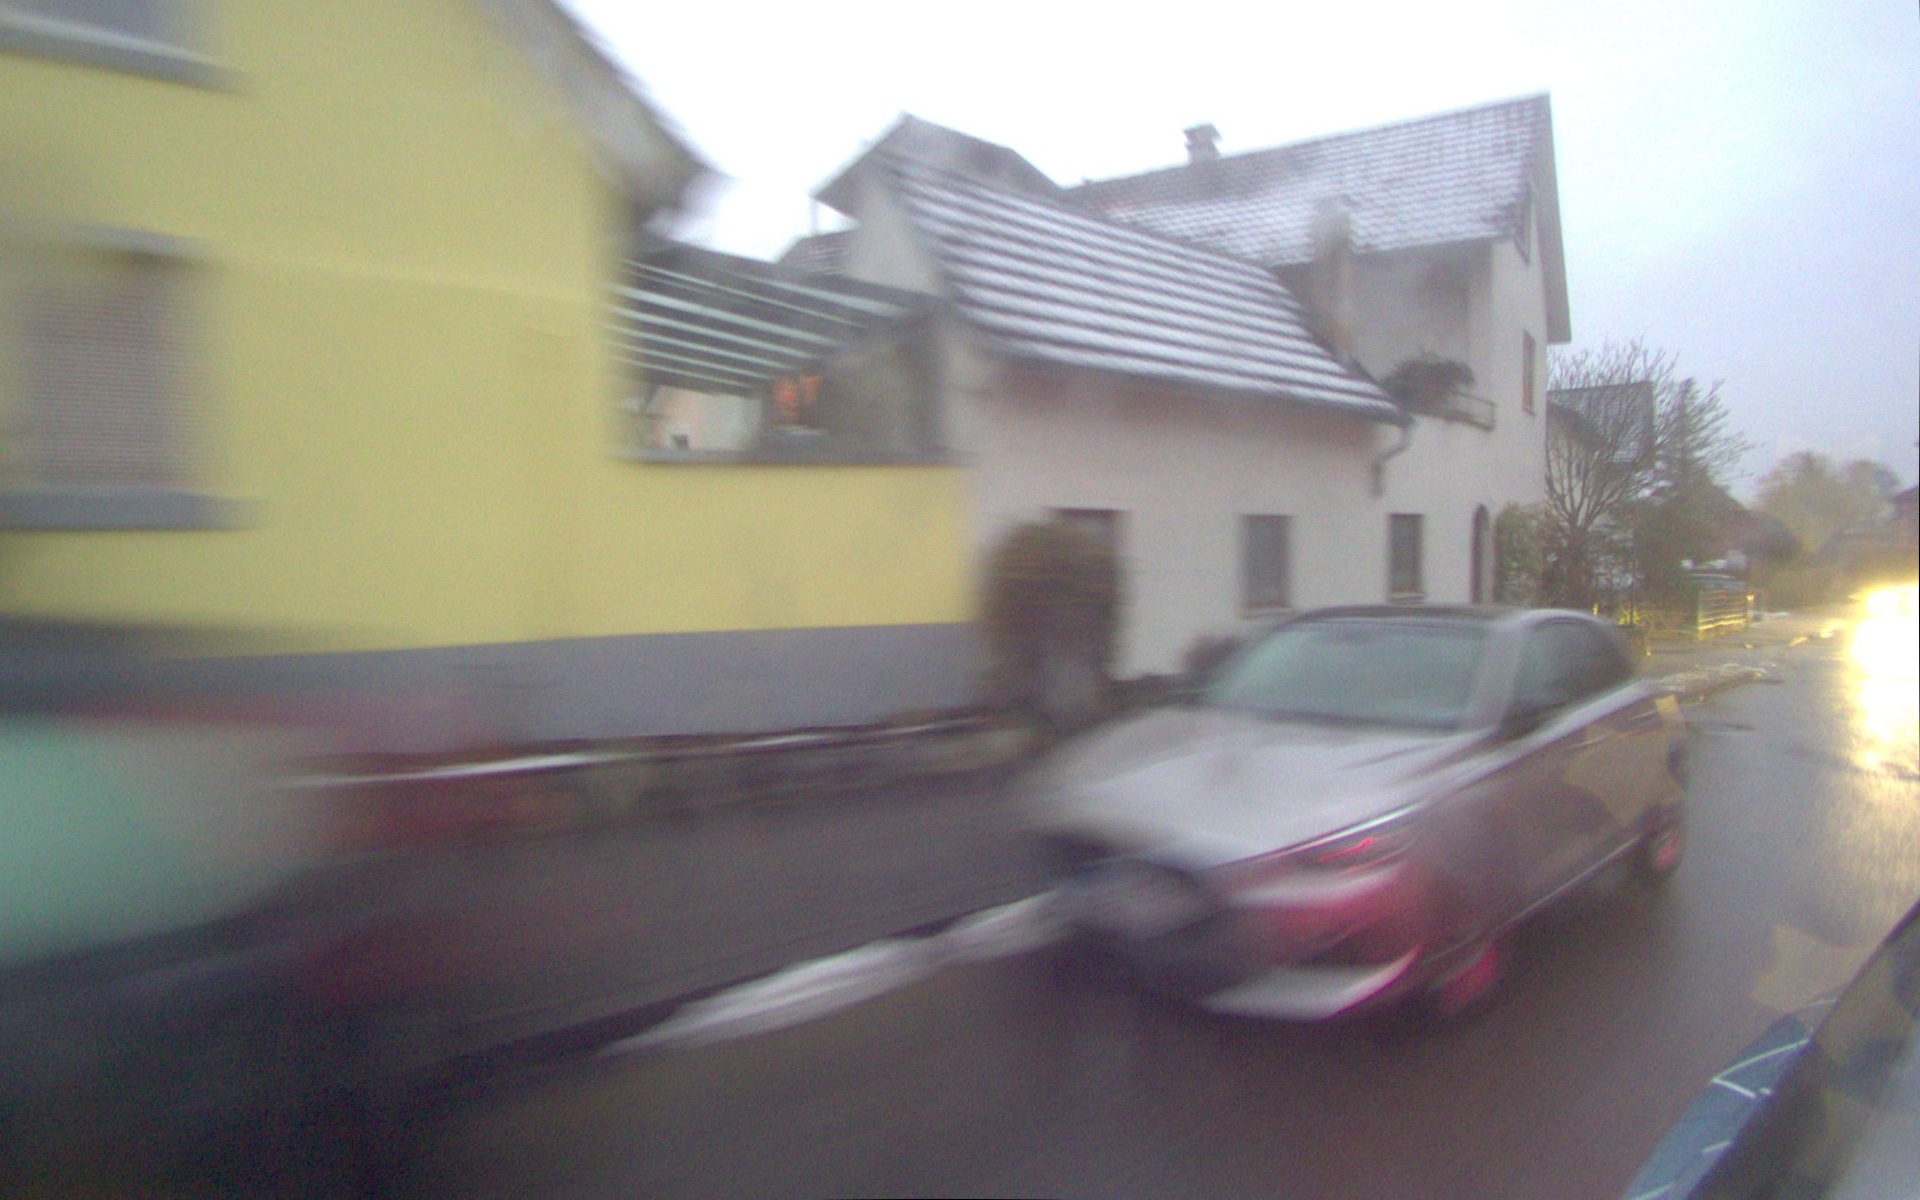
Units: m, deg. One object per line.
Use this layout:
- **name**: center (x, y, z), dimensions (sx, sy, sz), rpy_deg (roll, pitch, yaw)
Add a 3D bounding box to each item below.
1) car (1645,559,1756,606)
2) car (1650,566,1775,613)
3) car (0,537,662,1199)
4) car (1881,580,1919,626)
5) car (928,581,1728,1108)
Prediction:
- **car**: center (33.374, -0.812, 45.711), dimensions (3.977, 2.039, 1.974), rpy_deg (1, 1, 37)
- **car**: center (30.488, -0.468, 41.112), dimensions (3.977, 1.816, 1.974), rpy_deg (1, 1, 37)
- **car**: center (-2.736, 0.678, 0.490), dimensions (4.716, 1.449, 1.729), rpy_deg (-1, 1, -42)
- **car**: center (43.554, 0.101, 46.263), dimensions (1.991, 2.039, 3.942), rpy_deg (1, 1, 41)
- **car**: center (2.153, 0.648, 5.025), dimensions (4.543, 1.457, 1.793), rpy_deg (-1, 1, -41)
